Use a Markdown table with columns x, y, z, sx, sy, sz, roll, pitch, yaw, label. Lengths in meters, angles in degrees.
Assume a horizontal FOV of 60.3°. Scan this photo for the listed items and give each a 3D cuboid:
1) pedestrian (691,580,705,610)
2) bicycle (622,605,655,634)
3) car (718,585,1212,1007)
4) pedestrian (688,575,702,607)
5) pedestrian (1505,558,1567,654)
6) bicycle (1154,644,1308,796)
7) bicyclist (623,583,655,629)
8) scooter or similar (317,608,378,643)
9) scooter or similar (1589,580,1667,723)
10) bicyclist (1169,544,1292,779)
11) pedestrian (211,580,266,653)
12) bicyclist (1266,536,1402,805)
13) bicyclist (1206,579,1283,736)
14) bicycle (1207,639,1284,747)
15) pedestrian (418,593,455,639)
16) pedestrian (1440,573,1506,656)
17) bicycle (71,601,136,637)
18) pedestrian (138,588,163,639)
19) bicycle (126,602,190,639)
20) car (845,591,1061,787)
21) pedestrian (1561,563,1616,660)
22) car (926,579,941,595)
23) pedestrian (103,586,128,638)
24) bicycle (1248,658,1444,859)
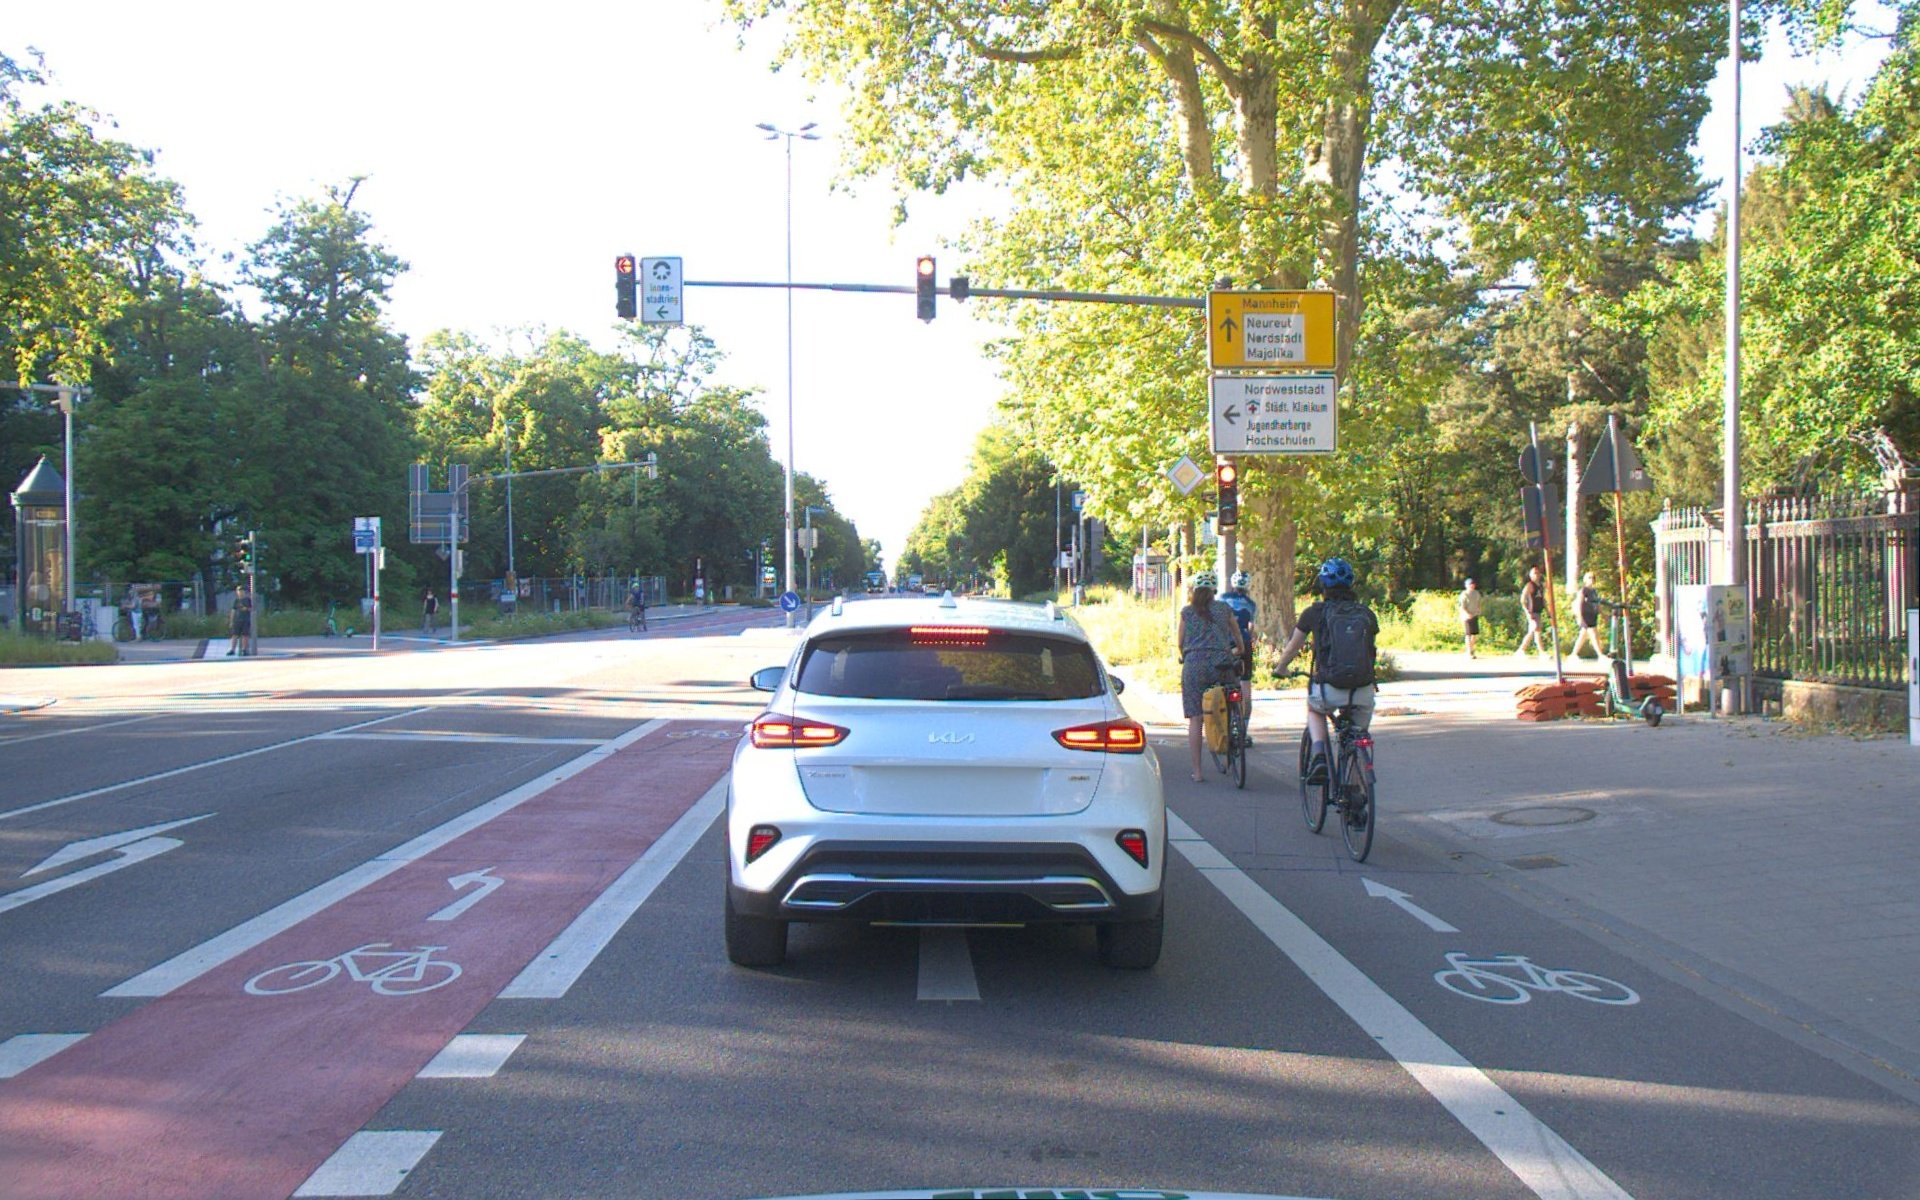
| x | y | z | sx | sy | sz | roll | pitch | yaw | label |
| --- | --- | --- | --- | --- | --- | --- | --- | --- | --- |
| -16.290 | -0.312 | 102.800 | 0.769 | 1.817 | 0.751 | 0 | 0 | 0 | pedestrian |
| -11.781 | 0.708 | 60.608 | 0.650 | 1.006 | 2.504 | -1 | 1 | 1 | bicycle |
| -0.049 | 0.683 | 7.928 | 1.785 | 1.506 | 3.934 | 0 | 1 | -2 | car |
| -16.724 | -0.570 | 104.396 | 0.627 | 2.049 | 0.754 | 0 | 0 | 13 | pedestrian |
| 11.089 | 0.110 | 31.859 | 0.802 | 1.802 | 0.831 | -1 | 0 | -8 | pedestrian |
| 2.178 | 0.935 | 13.667 | 0.742 | 1.031 | 2.568 | 1 | 1 | -2 | bicycle |
| -11.786 | 0.204 | 60.745 | 0.857 | 1.636 | 1.188 | -1 | 0 | 1 | bicyclist |
| -20.802 | 0.853 | 56.188 | 0.697 | 1.144 | 1.916 | 0 | 0 | 32 | scooter or similar |
| 6.541 | 0.482 | 16.230 | 0.223 | 1.350 | 1.171 | -1 | 0 | -2 | scooter or similar |
| 2.193 | 0.476 | 13.536 | 0.738 | 1.827 | 1.164 | 1 | 0 | -2 | bicyclist |
| -20.439 | 0.460 | 46.862 | 0.974 | 2.049 | 1.191 | 0 | 0 | 4 | pedestrian |
| 2.341 | 0.427 | 10.409 | 0.652 | 1.630 | 0.720 | 1 | 0 | -2 | bicyclist |
| 2.842 | 0.564 | 16.571 | 0.543 | 1.504 | 0.716 | -3 | 0 | -2 | bicyclist |
| 2.845 | 0.906 | 16.587 | 0.393 | 0.973 | 1.550 | -3 | 0 | -2 | bicycle |
| -18.854 | 0.561 | 59.544 | 1.067 | 1.631 | 0.999 | -1 | 0 | -7 | pedestrian |
| 9.748 | 0.274 | 31.428 | 0.807 | 1.544 | 0.910 | 1 | 0 | -22 | pedestrian |
| -27.871 | 0.620 | 53.823 | 1.826 | 1.168 | 0.442 | 0 | 0 | -8 | bicycle |
| -26.032 | 0.434 | 53.184 | 0.617 | 1.608 | 0.444 | 0 | 0 | -11 | pedestrian |
| -25.983 | 0.665 | 53.590 | 1.826 | 1.168 | 0.290 | 0 | 0 | -8 | bicycle |
| -0.127 | 0.698 | 14.959 | 1.694 | 1.509 | 3.515 | -1 | 1 | -3 | car |
| 11.382 | 0.204 | 29.964 | 0.676 | 1.729 | 0.643 | -1 | 0 | -7 | pedestrian |
| -3.473 | -1.690 | 217.941 | 1.953 | 2.049 | 3.999 | -1 | 1 | -1 | car |
| -27.386 | 0.393 | 53.632 | 0.617 | 1.671 | 0.444 | 0 | 0 | -11 | pedestrian |
| 2.341 | 0.924 | 10.291 | 0.655 | 1.027 | 2.080 | 1 | 1 | -2 | bicycle |
